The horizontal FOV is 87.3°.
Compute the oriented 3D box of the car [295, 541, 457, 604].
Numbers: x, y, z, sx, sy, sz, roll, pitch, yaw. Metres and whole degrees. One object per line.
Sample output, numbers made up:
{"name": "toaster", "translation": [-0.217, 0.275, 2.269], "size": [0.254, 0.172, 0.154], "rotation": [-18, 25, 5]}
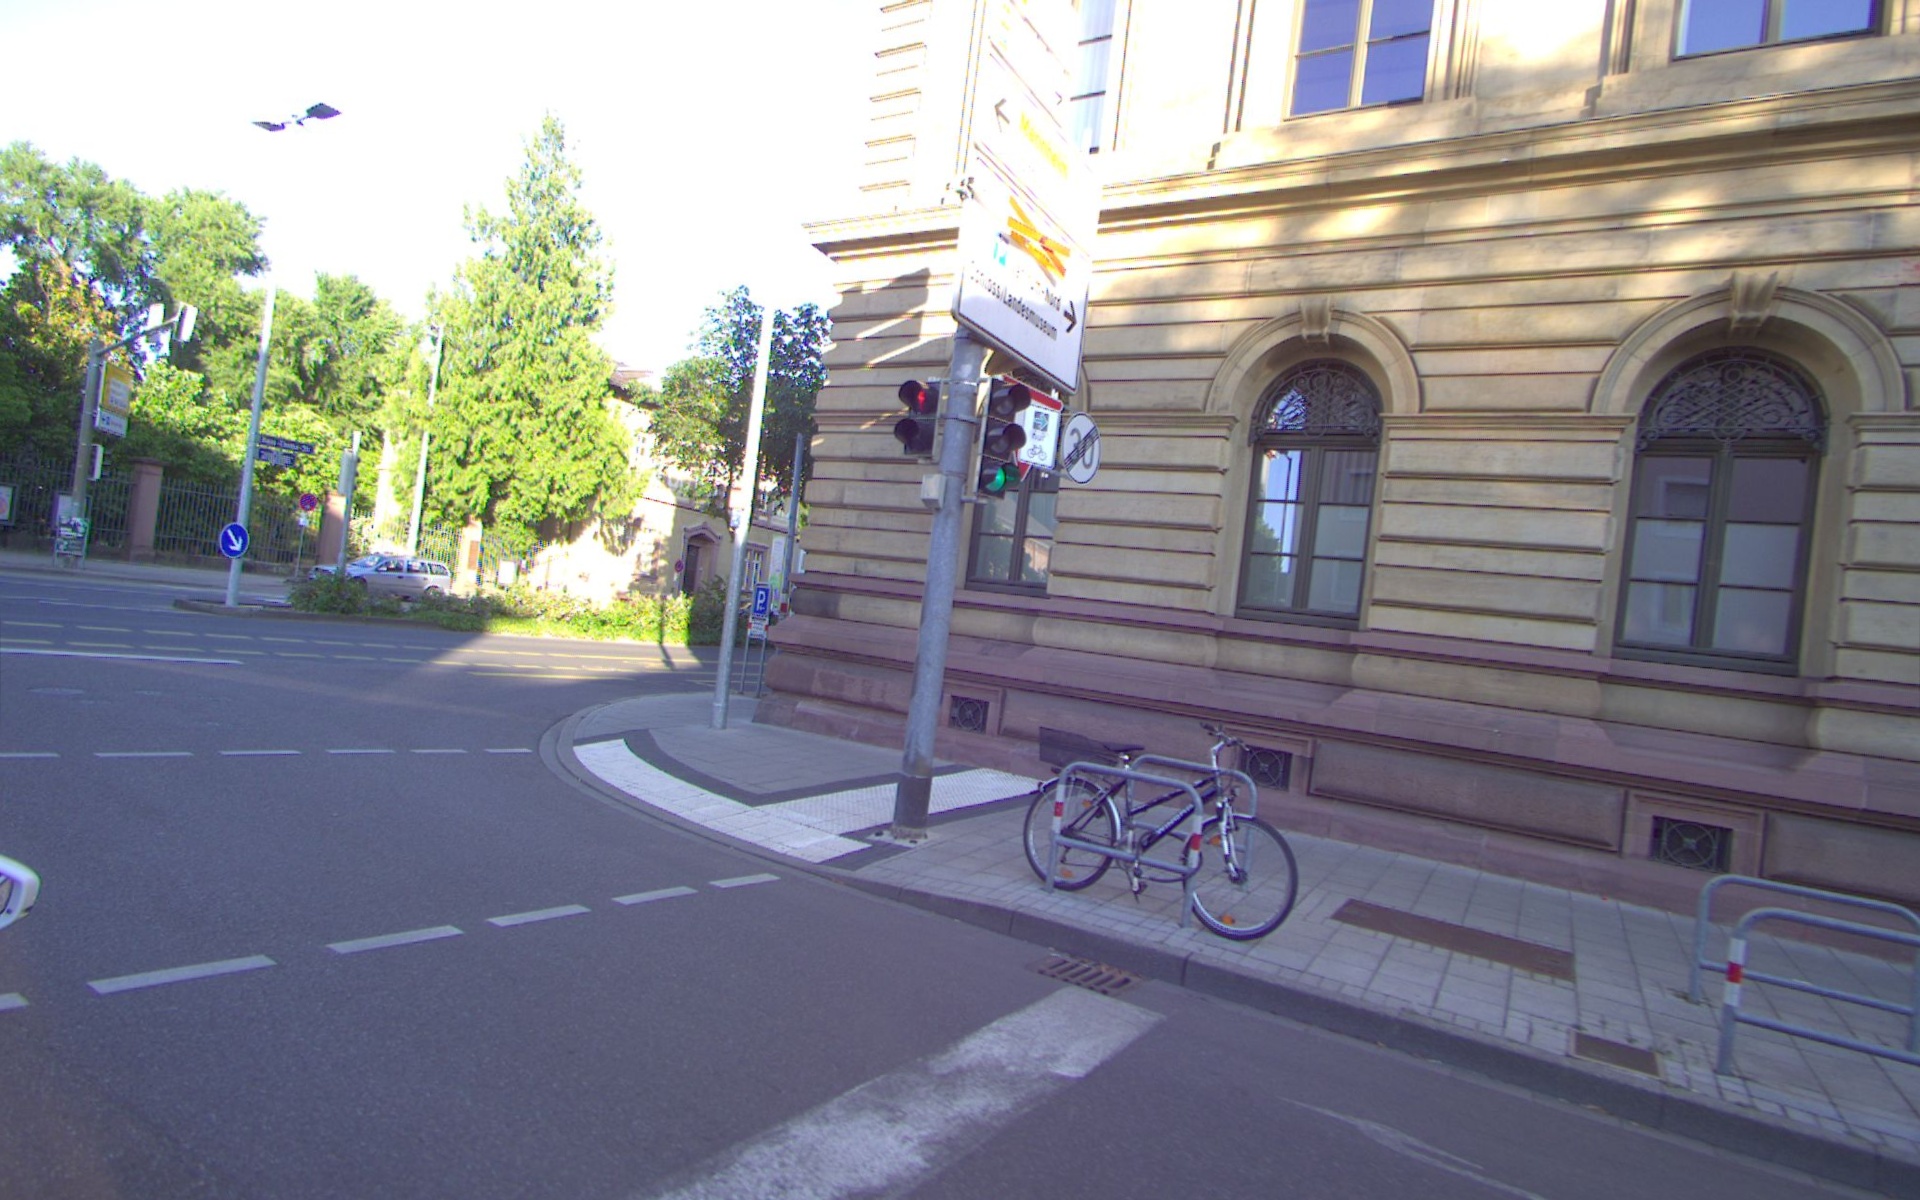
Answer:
{"name": "car", "translation": [-18.760, -0.841, 32.530], "size": [1.685, 1.462, 4.196], "rotation": [7, -2, 27]}

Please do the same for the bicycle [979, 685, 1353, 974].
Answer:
{"name": "bicycle", "translation": [1.115, 1.190, 5.668], "size": [1.889, 1.202, 0.583], "rotation": [5, -2, 32]}
